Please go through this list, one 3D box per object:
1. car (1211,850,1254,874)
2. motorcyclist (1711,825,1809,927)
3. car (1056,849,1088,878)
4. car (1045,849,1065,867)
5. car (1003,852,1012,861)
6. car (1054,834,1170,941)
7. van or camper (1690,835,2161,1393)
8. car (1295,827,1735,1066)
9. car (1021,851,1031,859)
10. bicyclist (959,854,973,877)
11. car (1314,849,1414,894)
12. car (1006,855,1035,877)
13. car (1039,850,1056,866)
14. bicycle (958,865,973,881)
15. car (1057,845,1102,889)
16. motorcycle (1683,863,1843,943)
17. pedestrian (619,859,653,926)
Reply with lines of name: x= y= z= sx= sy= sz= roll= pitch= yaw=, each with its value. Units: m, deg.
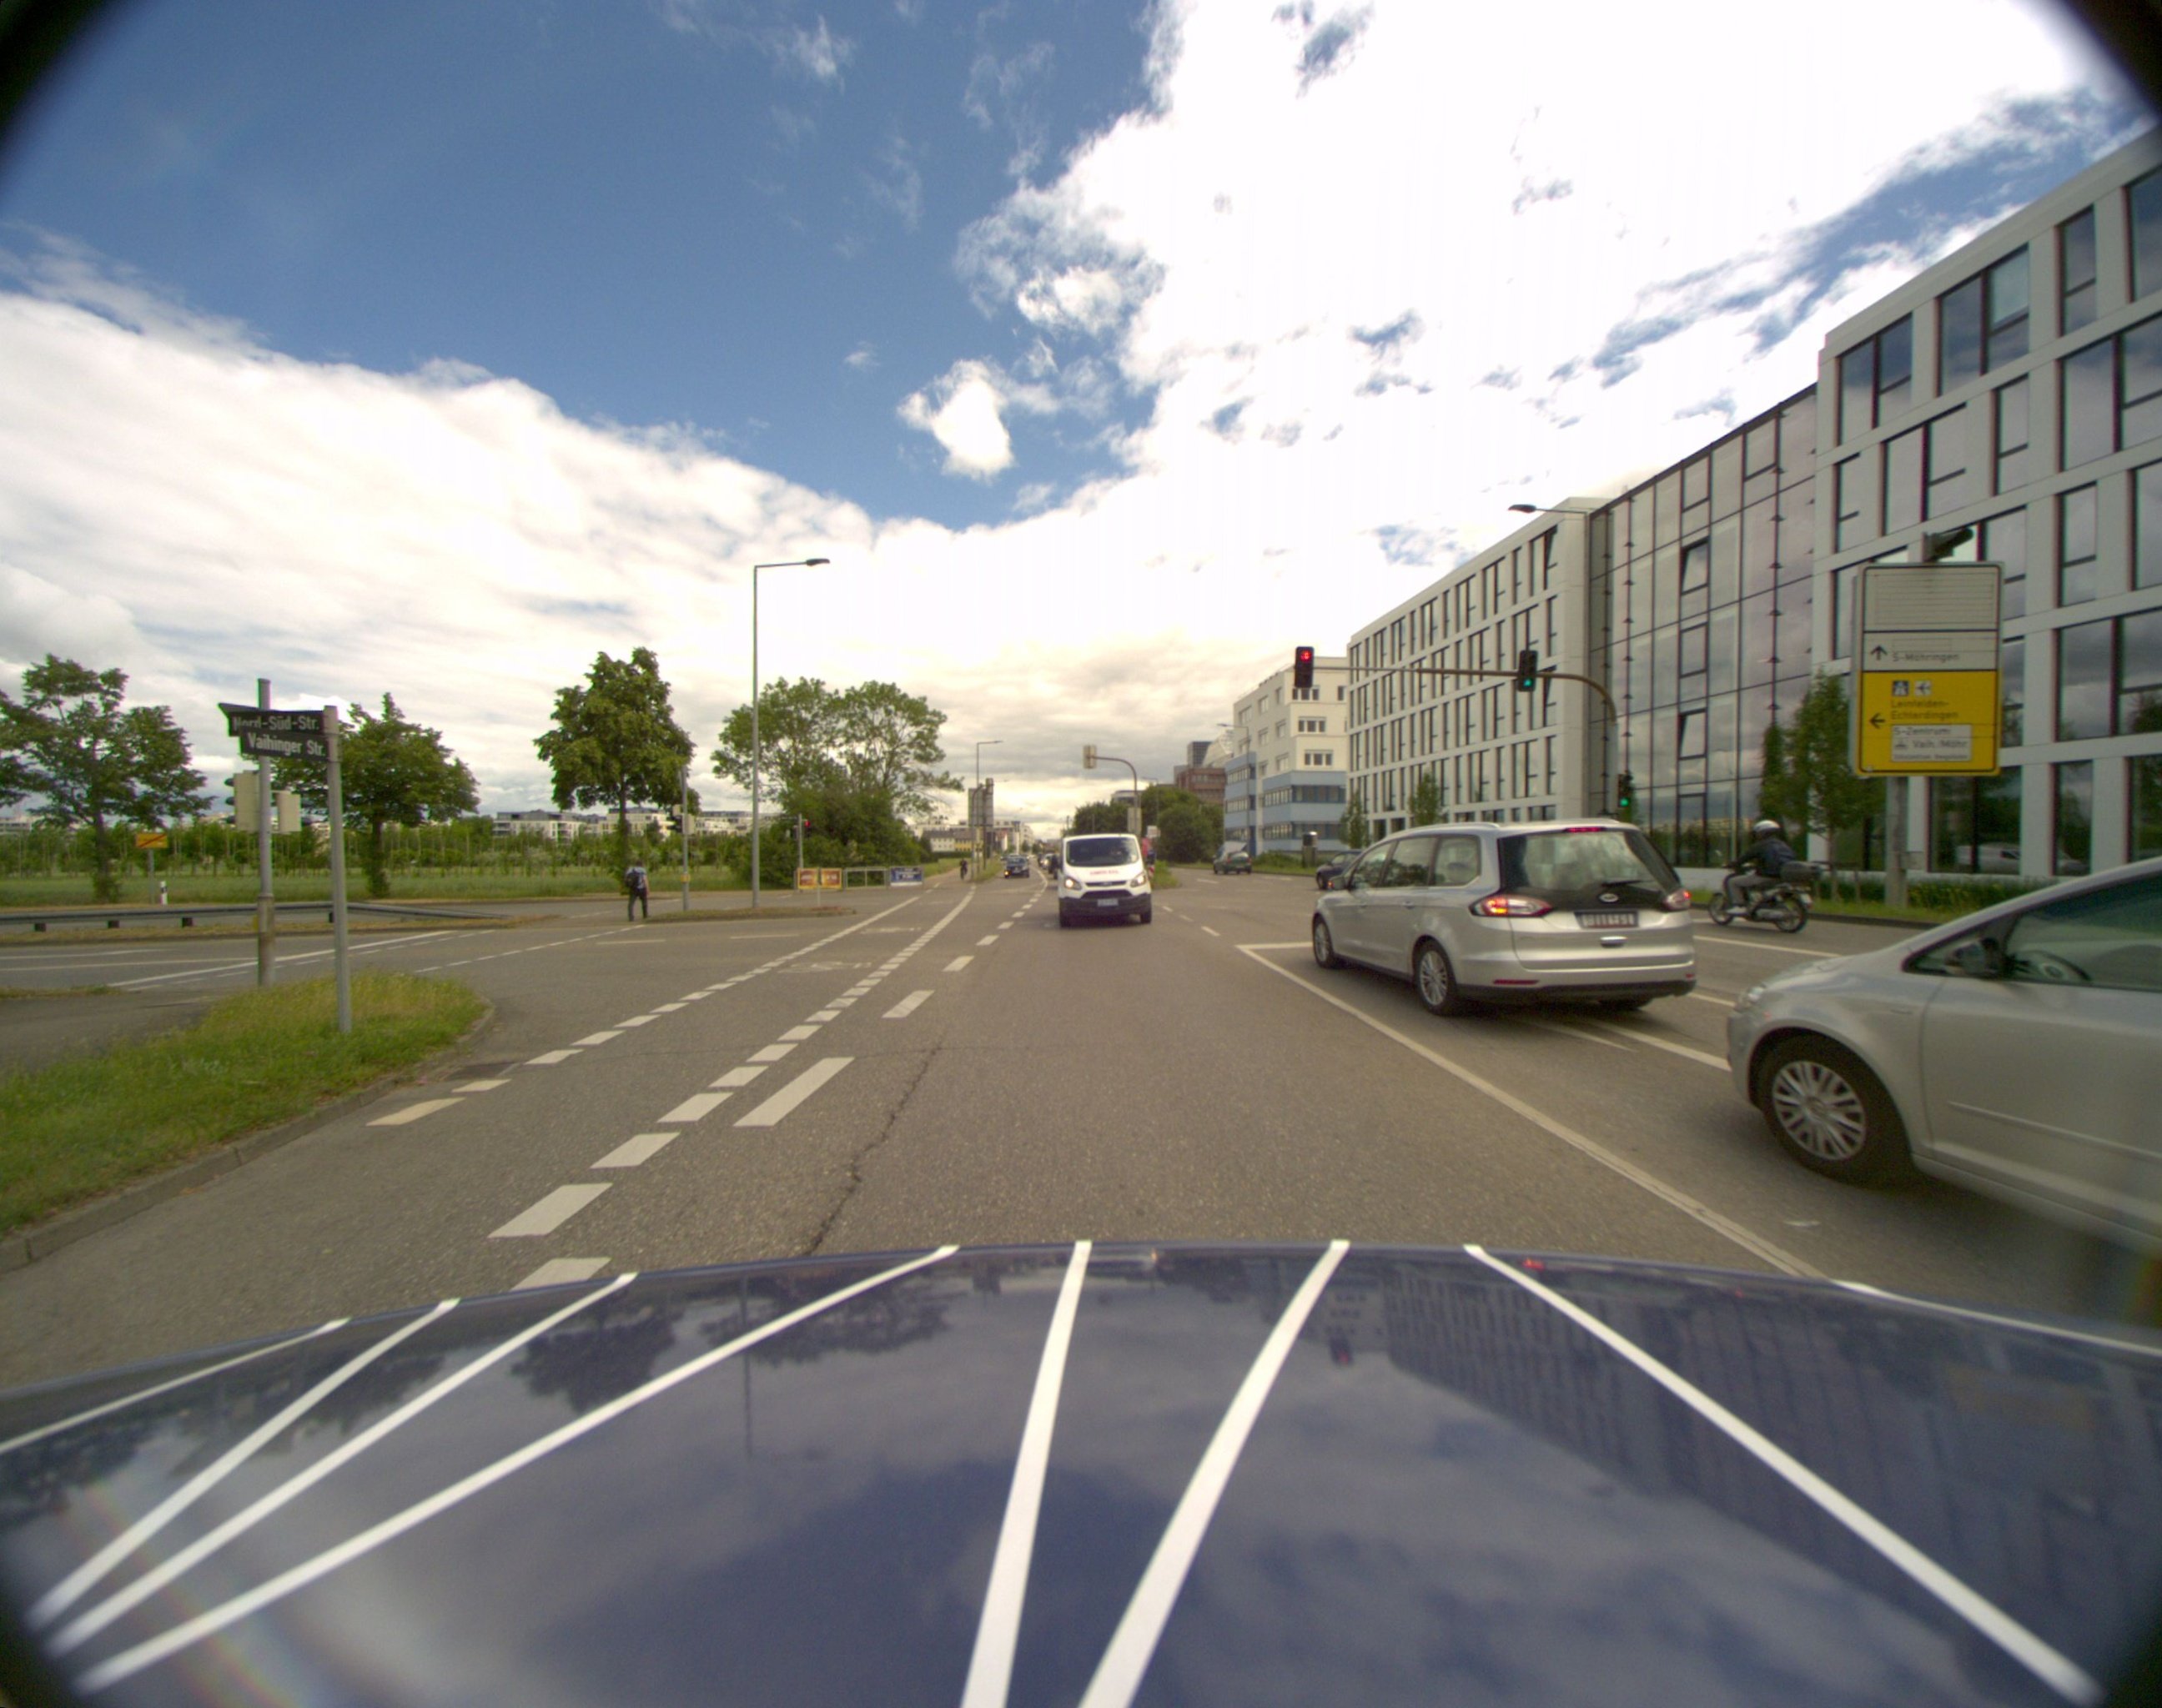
car: x=9.286 y=0.449 z=46.759 sx=1.609 sy=1.384 sz=3.638 roll=-2 pitch=0 yaw=-4
motorcyclist: x=10.493 y=0.321 z=11.774 sx=0.655 sy=1.501 sz=0.917 roll=-2 pitch=1 yaw=-4
car: x=-0.583 y=0.547 z=47.857 sx=1.872 sy=1.685 sz=4.370 roll=-2 pitch=0 yaw=-1
car: x=-2.533 y=0.384 z=75.016 sx=1.872 sy=1.685 sz=4.370 roll=-2 pitch=0 yaw=-1
car: x=-15.149 y=0.557 z=156.359 sx=1.873 sy=1.685 sz=4.368 roll=-2 pitch=0 yaw=-7
car: x=0.511 y=0.620 z=17.413 sx=2.122 sy=1.963 sz=6.205 roll=-2 pitch=0 yaw=-1
van or camper: x=3.992 y=0.744 z=1.876 sx=1.748 sy=1.600 sz=4.045 roll=-2 pitch=0 yaw=1
car: x=3.793 y=0.665 z=7.729 sx=1.872 sy=1.685 sz=4.370 roll=-2 pitch=0 yaw=-1
car: x=-11.121 y=0.213 z=153.948 sx=1.873 sy=1.685 sz=4.369 roll=-2 pitch=0 yaw=-4
bicyclist: x=-8.670 y=0.882 z=57.385 sx=1.017 sy=1.698 sz=1.200 roll=0 pitch=1 yaw=-6
car: x=9.465 y=0.549 z=25.707 sx=1.749 sy=1.347 sz=3.638 roll=-2 pitch=0 yaw=-5
car: x=-4.103 y=0.785 z=52.121 sx=1.736 sy=1.432 sz=4.367 roll=-2 pitch=0 yaw=-1
car: x=-3.837 y=0.423 z=87.817 sx=1.873 sy=1.685 sz=4.370 roll=-2 pitch=0 yaw=-3
bicycle: x=-8.655 y=1.382 z=57.106 sx=1.017 sy=1.127 sz=2.674 roll=0 pitch=0 yaw=-6
car: x=-0.118 y=0.548 z=34.615 sx=1.872 sy=1.836 sz=4.370 roll=-2 pitch=0 yaw=-1
motorcycle: x=10.498 y=0.708 z=11.807 sx=0.655 sy=1.106 sz=1.933 roll=-2 pitch=0 yaw=-4
pedestrian: x=-12.768 y=1.080 z=21.831 sx=0.767 sy=1.872 sz=0.799 roll=-2 pitch=1 yaw=-29
